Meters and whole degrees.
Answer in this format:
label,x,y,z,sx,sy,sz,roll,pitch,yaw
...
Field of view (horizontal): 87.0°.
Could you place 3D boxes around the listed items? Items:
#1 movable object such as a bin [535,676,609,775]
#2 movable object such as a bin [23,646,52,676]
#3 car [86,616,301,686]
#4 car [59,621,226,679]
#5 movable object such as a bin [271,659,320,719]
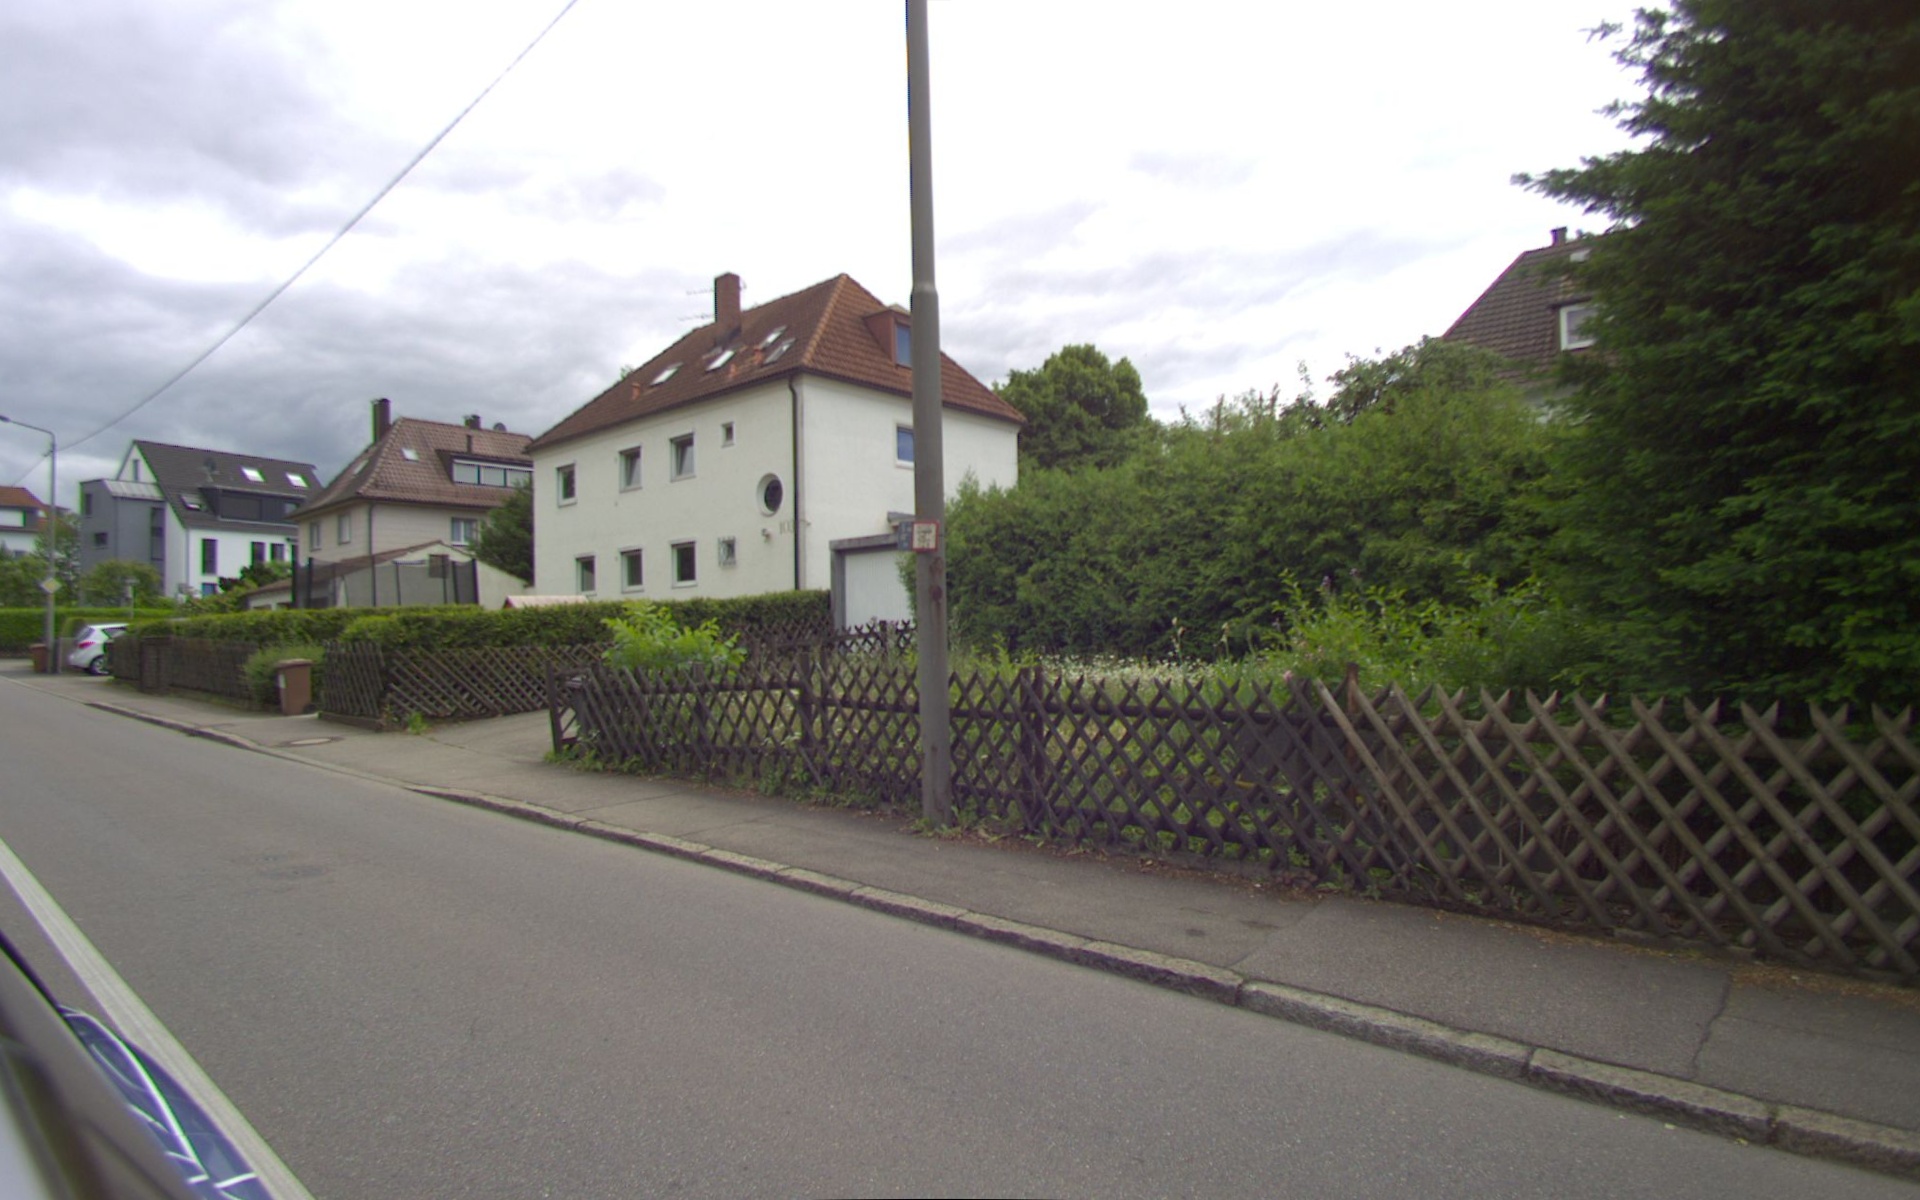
label,x,y,z,sx,sy,sz,roll,pitch,yaw
movable object such as a bin,-4.023,1.286,10.502,0.537,0.945,0.544,-2,-2,43
movable object such as a bin,-30.155,1.979,33.073,0.680,0.961,0.572,1,-2,-45
car,-22.087,1.391,29.320,1.881,1.682,4.624,-2,1,39
car,-26.382,1.563,32.762,1.717,1.606,3.946,-2,1,41
movable object such as a bin,-11.052,1.468,16.833,0.625,0.920,0.561,-1,-1,-39
